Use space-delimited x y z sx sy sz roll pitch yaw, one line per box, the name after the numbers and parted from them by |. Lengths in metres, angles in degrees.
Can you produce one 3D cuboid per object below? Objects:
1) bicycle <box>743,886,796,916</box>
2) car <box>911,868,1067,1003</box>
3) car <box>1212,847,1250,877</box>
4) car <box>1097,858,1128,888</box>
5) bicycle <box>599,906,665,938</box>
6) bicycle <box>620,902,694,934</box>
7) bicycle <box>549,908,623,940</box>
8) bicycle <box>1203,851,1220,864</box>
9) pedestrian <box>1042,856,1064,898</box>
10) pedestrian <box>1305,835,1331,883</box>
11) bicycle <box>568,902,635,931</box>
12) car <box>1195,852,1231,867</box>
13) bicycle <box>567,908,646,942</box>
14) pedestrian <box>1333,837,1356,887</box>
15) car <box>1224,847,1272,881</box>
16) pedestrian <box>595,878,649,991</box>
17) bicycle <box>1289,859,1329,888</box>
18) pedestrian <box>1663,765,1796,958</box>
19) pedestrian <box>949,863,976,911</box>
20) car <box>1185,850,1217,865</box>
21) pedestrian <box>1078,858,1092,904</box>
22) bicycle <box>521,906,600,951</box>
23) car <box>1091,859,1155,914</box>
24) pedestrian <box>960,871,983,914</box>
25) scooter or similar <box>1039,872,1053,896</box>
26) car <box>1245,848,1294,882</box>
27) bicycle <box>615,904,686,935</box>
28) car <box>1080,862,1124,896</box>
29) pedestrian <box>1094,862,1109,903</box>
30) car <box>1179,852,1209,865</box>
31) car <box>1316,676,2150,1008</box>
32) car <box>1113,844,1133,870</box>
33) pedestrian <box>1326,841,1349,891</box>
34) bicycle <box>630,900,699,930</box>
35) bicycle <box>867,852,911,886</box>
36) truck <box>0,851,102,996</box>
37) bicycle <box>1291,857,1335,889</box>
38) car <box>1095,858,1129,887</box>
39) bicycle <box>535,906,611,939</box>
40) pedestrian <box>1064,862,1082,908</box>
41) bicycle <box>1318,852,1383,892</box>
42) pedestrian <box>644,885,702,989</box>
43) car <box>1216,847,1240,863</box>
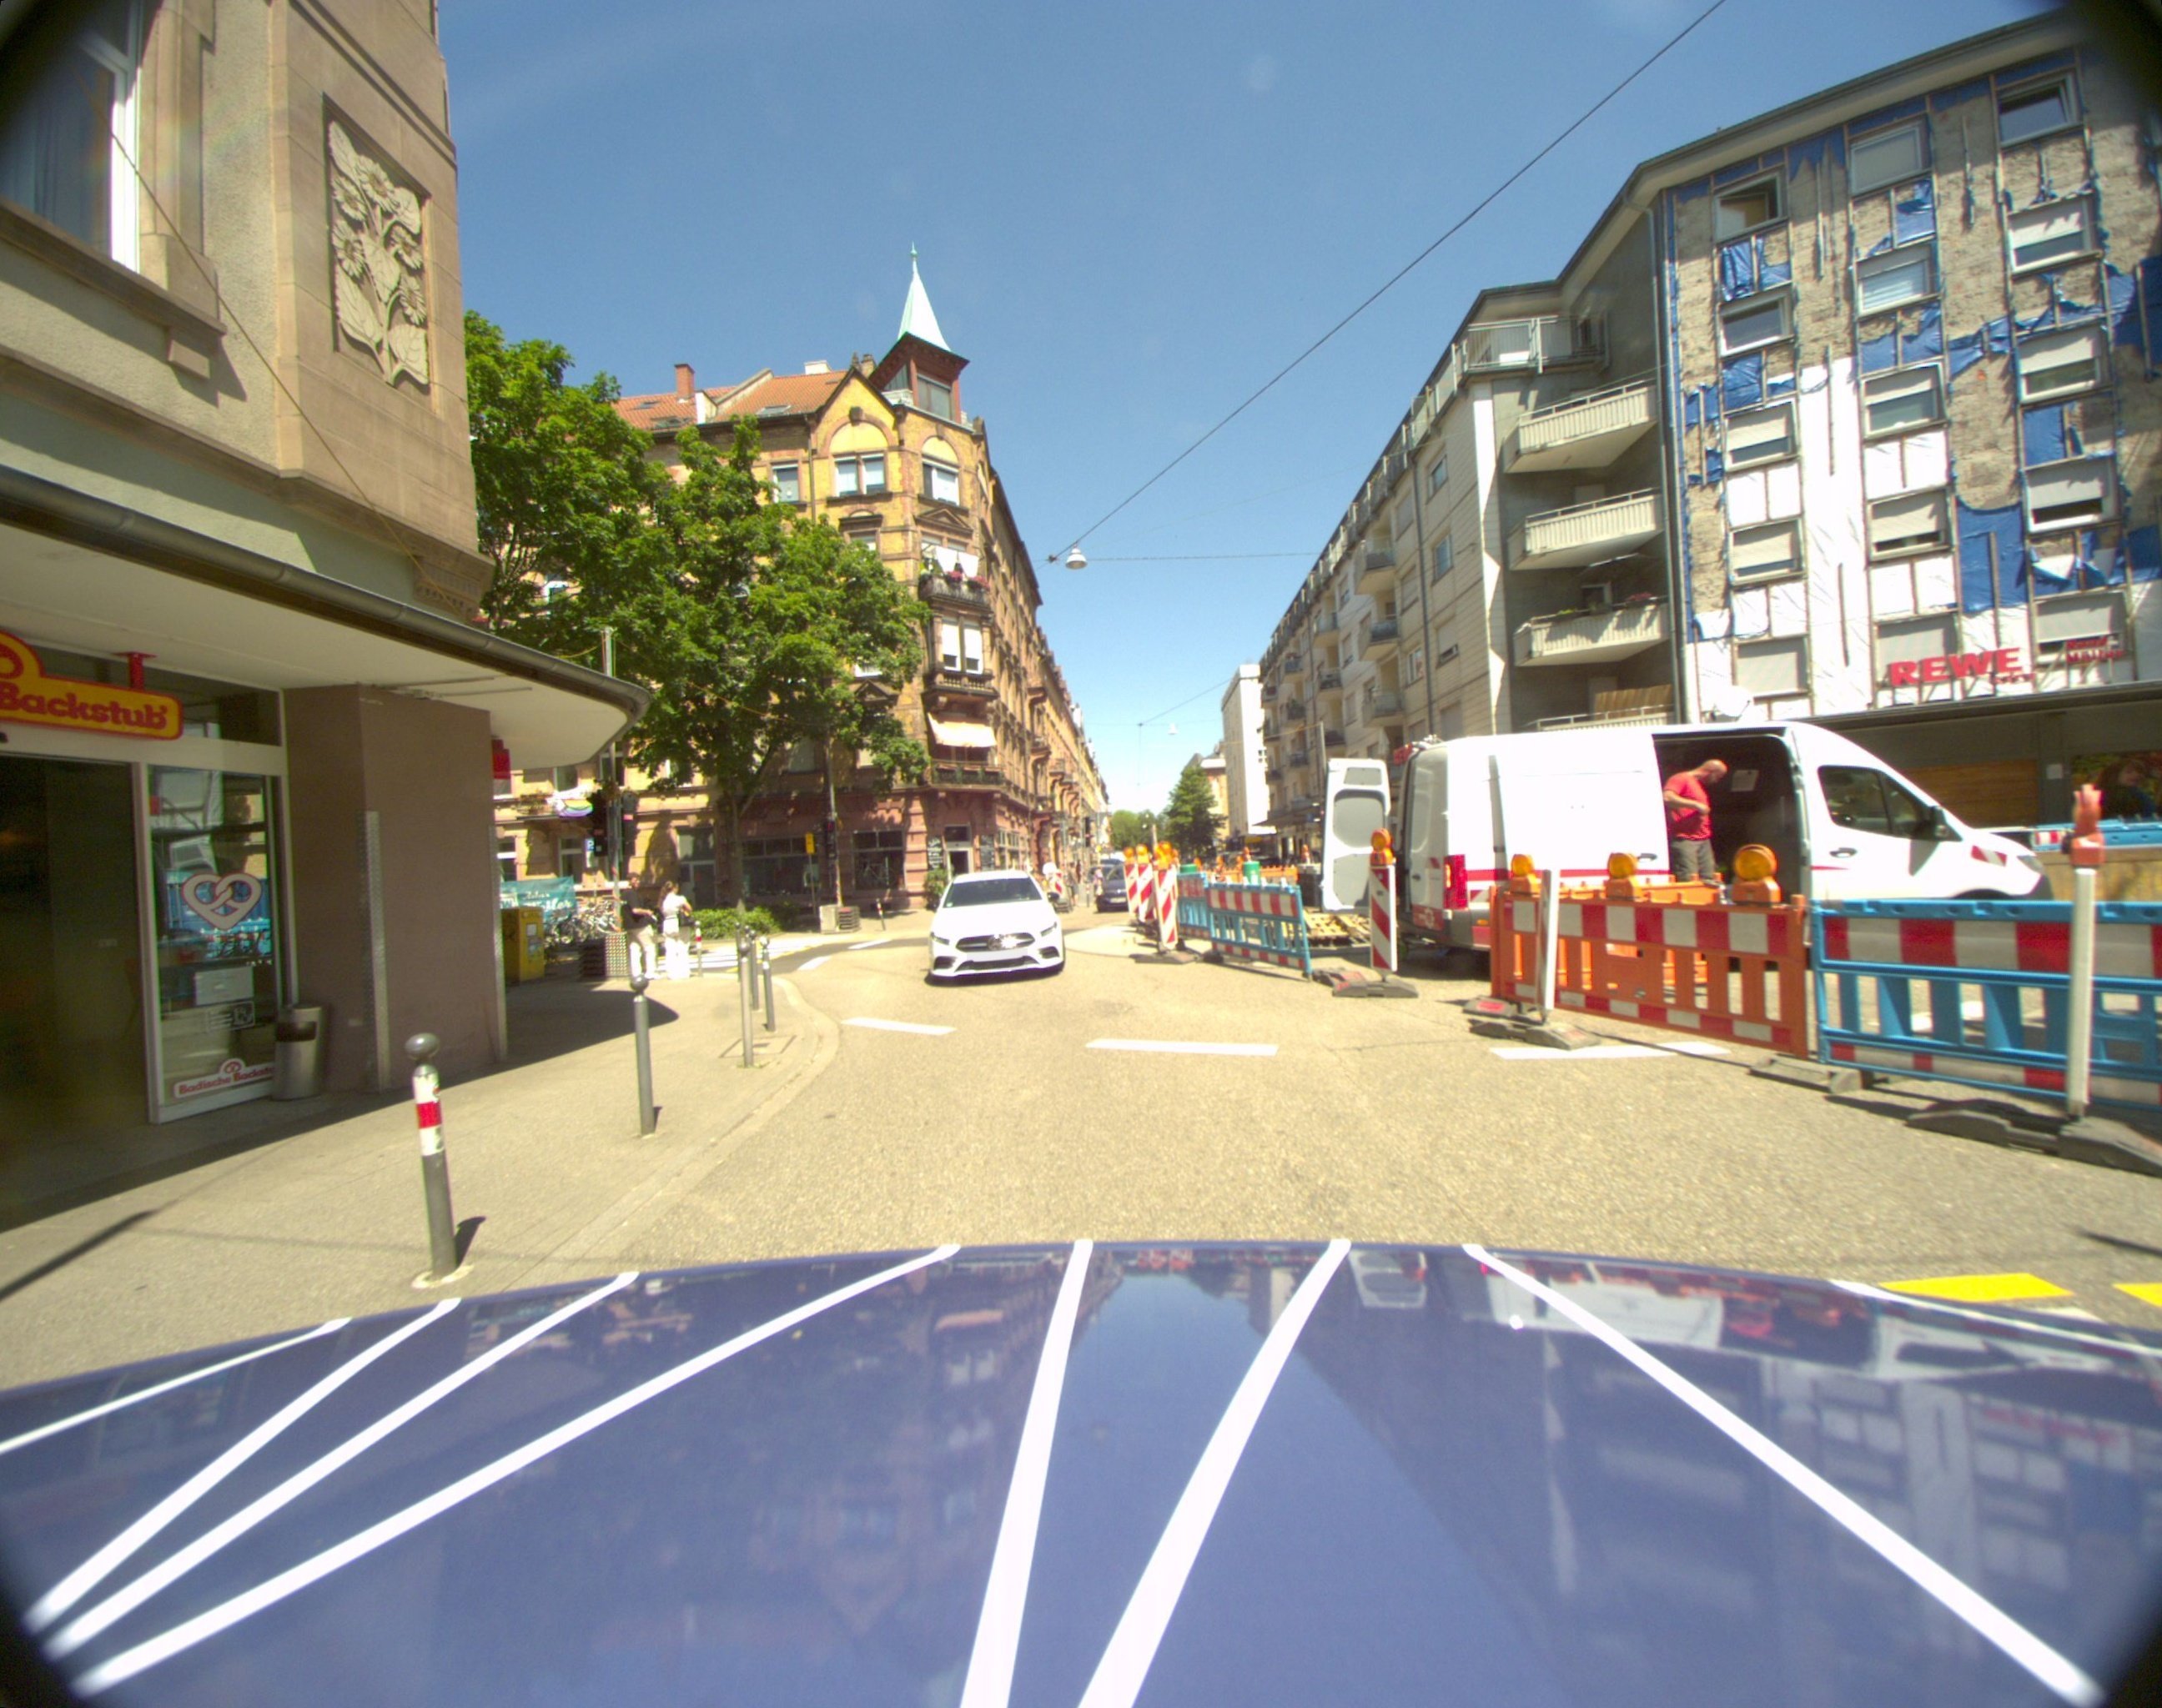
-11.466 1.731 27.951 1.694 1.002 0.522 -3 0 5 | bicycle
-1.285 1.046 11.546 1.814 1.417 4.240 -5 1 -4 | car
10.148 0.529 51.784 1.792 1.818 4.902 -4 0 4 | car
2.048 1.153 48.682 1.829 1.756 4.339 -2 0 2 | car
-13.568 2.057 22.959 1.743 0.867 0.509 -3 0 8 | bicycle
-13.160 1.993 23.580 2.072 0.867 0.509 -3 0 8 | bicycle
-15.480 2.189 23.776 2.072 0.867 0.509 -3 0 8 | bicycle
13.099 0.344 76.241 1.608 1.084 0.371 -5 0 10 | bicycle
-1.190 0.968 32.282 0.478 1.723 0.873 -3 1 23 | pedestrian
8.711 0.174 27.957 0.657 1.716 0.632 -3 0 2 | pedestrian
-16.578 2.166 26.260 2.072 0.867 0.509 -3 0 8 | bicycle
15.117 0.606 87.105 3.884 1.520 1.652 -3 0 4 | car
-13.833 2.064 22.148 2.072 0.867 0.509 -3 0 8 | bicycle
8.476 0.248 24.439 0.496 1.556 0.460 -6 -1 31 | pedestrian
9.970 0.614 45.719 1.793 1.800 4.700 -4 0 1 | car
-7.373 1.283 12.223 0.577 1.757 0.471 -1 -3 -4 | pedestrian
9.198 0.777 30.671 1.451 1.030 0.335 -6 0 0 | bicycle
6.279 0.074 7.398 0.525 1.743 0.769 -5 0 5 | pedestrian
-4.658 1.274 29.897 0.943 1.809 0.455 -3 3 -42 | pedestrian
15.750 0.510 99.661 3.884 1.737 1.652 -3 0 4 | car
0.144 0.980 27.887 0.333 1.665 0.402 -3 0 10 | pedestrian
-14.752 2.104 21.553 1.784 1.101 0.509 -3 2 -2 | bicycle
1.377 0.974 24.360 1.780 1.460 4.001 -5 0 4 | car
-4.471 1.570 31.065 0.725 1.709 0.495 -3 2 -41 | pedestrian
-1.818 1.534 39.457 0.293 1.170 1.273 -4 0 14 | scooter or similar
9.656 0.531 39.281 1.673 1.516 4.465 -4 0 5 | car
-13.935 2.125 24.599 2.072 0.867 0.509 -3 0 8 | bicycle
1.060 1.170 36.054 1.630 1.424 3.662 -2 0 8 | car
0.777 1.084 29.110 0.494 1.534 0.437 -1 1 10 | pedestrian
15.618 0.645 105.192 3.884 1.487 1.652 -3 0 4 | car
6.242 -0.056 8.208 6.636 2.735 2.380 -3 1 5 | car
4.829 0.321 86.643 2.067 2.686 5.040 -5 0 4 | car
8.560 0.392 25.372 0.542 1.623 0.511 -3 0 2 | pedestrian
-13.838 2.031 25.245 2.072 0.867 0.509 -3 0 8 | bicycle
-7.075 0.557 28.077 1.425 1.145 0.510 -3 0 7 | bicycle
-31.350 1.997 21.478 4.472 3.931 2.289 -3 0 5 | truck
9.158 0.732 30.040 1.523 1.110 0.335 -6 0 0 | bicycle
1.721 0.972 42.220 1.729 1.424 4.486 -2 0 2 | car
-15.492 2.097 23.165 2.072 0.867 0.509 -3 0 8 | bicycle
-0.266 1.076 26.436 0.460 1.551 0.479 -3 0 10 | pedestrian
8.512 0.582 24.045 1.806 1.112 0.468 -5 0 25 | bicycle
-6.605 1.329 12.306 0.703 1.635 0.423 -1 -3 -4 | pedestrian
13.954 0.097 72.317 1.813 1.417 3.893 -3 0 5 | car
